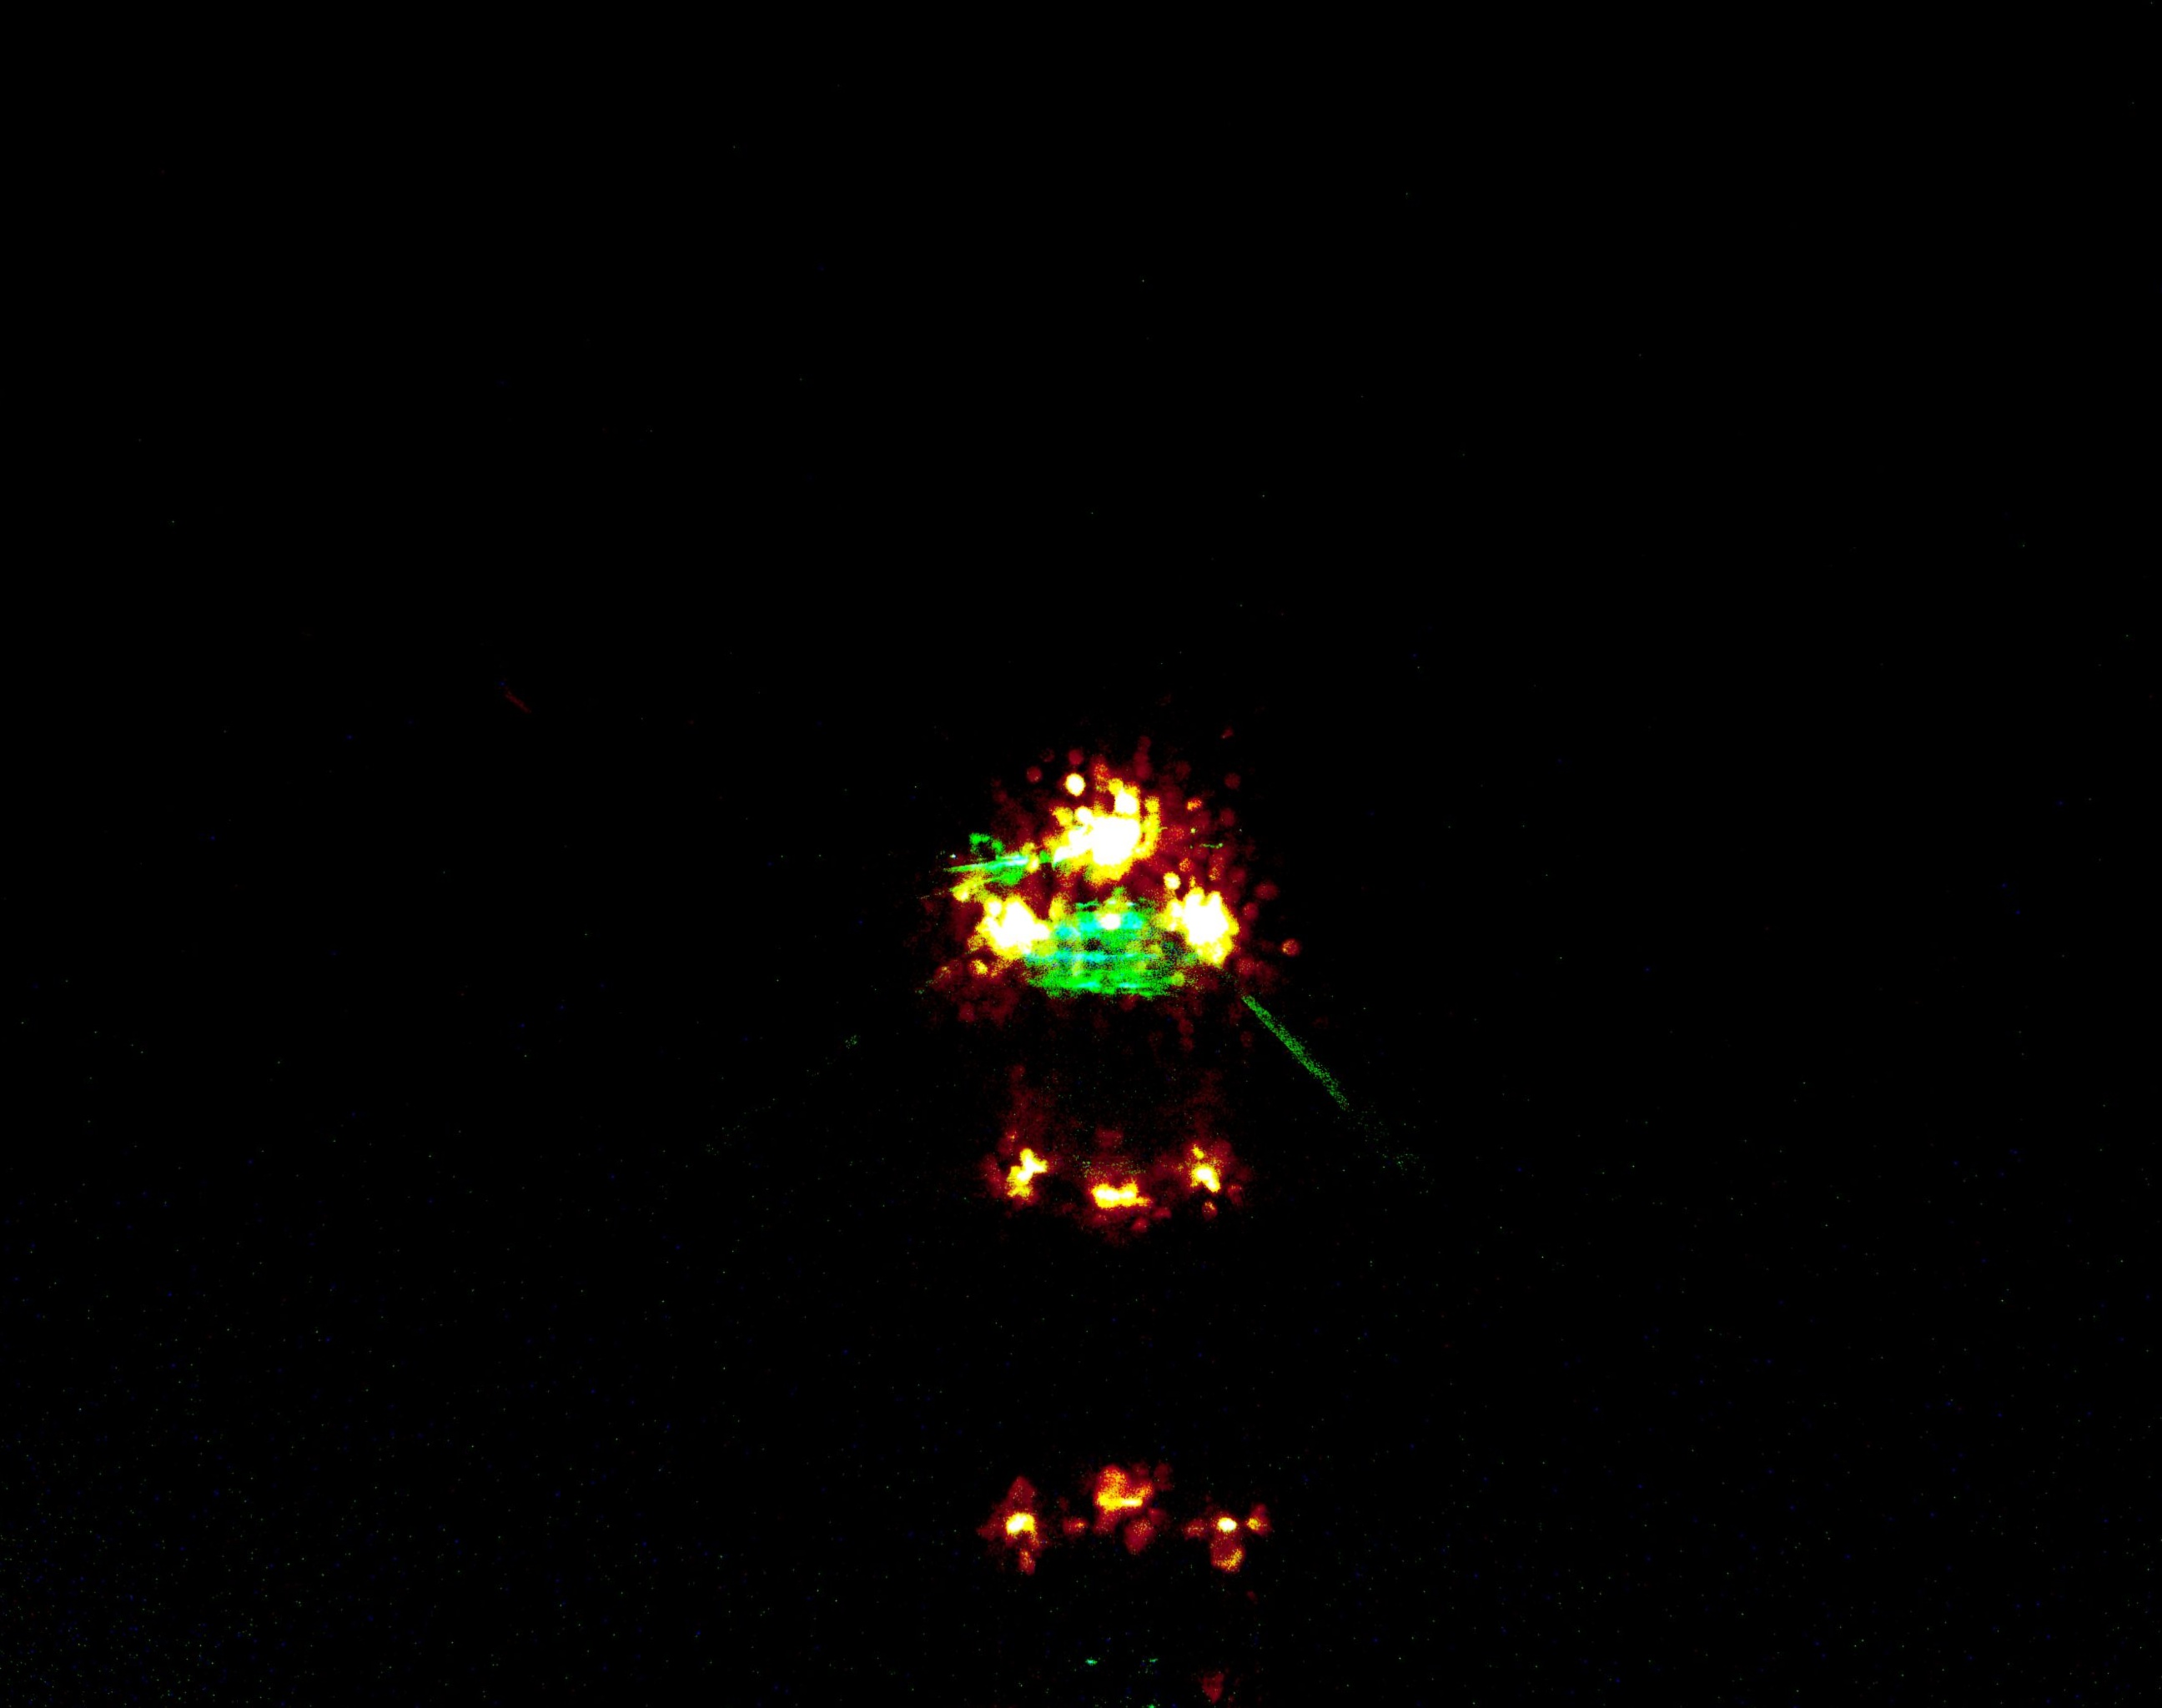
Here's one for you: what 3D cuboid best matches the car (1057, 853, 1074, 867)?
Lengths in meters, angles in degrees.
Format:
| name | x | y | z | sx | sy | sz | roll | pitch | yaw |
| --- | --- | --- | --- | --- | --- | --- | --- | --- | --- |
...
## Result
| name | x | y | z | sx | sy | sz | roll | pitch | yaw |
| --- | --- | --- | --- | --- | --- | --- | --- | --- | --- |
| car | -1.642 | 0.641 | 86.956 | 1.537 | 1.510 | 3.884 | -1 | 0 | 4 |

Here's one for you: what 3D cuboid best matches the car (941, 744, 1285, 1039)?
| name | x | y | z | sx | sy | sz | roll | pitch | yaw |
| --- | --- | --- | --- | --- | --- | --- | --- | --- | --- |
| car | 0.341 | 0.285 | 9.524 | 2.705 | 2.307 | 6.103 | -1 | 0 | 2 |
